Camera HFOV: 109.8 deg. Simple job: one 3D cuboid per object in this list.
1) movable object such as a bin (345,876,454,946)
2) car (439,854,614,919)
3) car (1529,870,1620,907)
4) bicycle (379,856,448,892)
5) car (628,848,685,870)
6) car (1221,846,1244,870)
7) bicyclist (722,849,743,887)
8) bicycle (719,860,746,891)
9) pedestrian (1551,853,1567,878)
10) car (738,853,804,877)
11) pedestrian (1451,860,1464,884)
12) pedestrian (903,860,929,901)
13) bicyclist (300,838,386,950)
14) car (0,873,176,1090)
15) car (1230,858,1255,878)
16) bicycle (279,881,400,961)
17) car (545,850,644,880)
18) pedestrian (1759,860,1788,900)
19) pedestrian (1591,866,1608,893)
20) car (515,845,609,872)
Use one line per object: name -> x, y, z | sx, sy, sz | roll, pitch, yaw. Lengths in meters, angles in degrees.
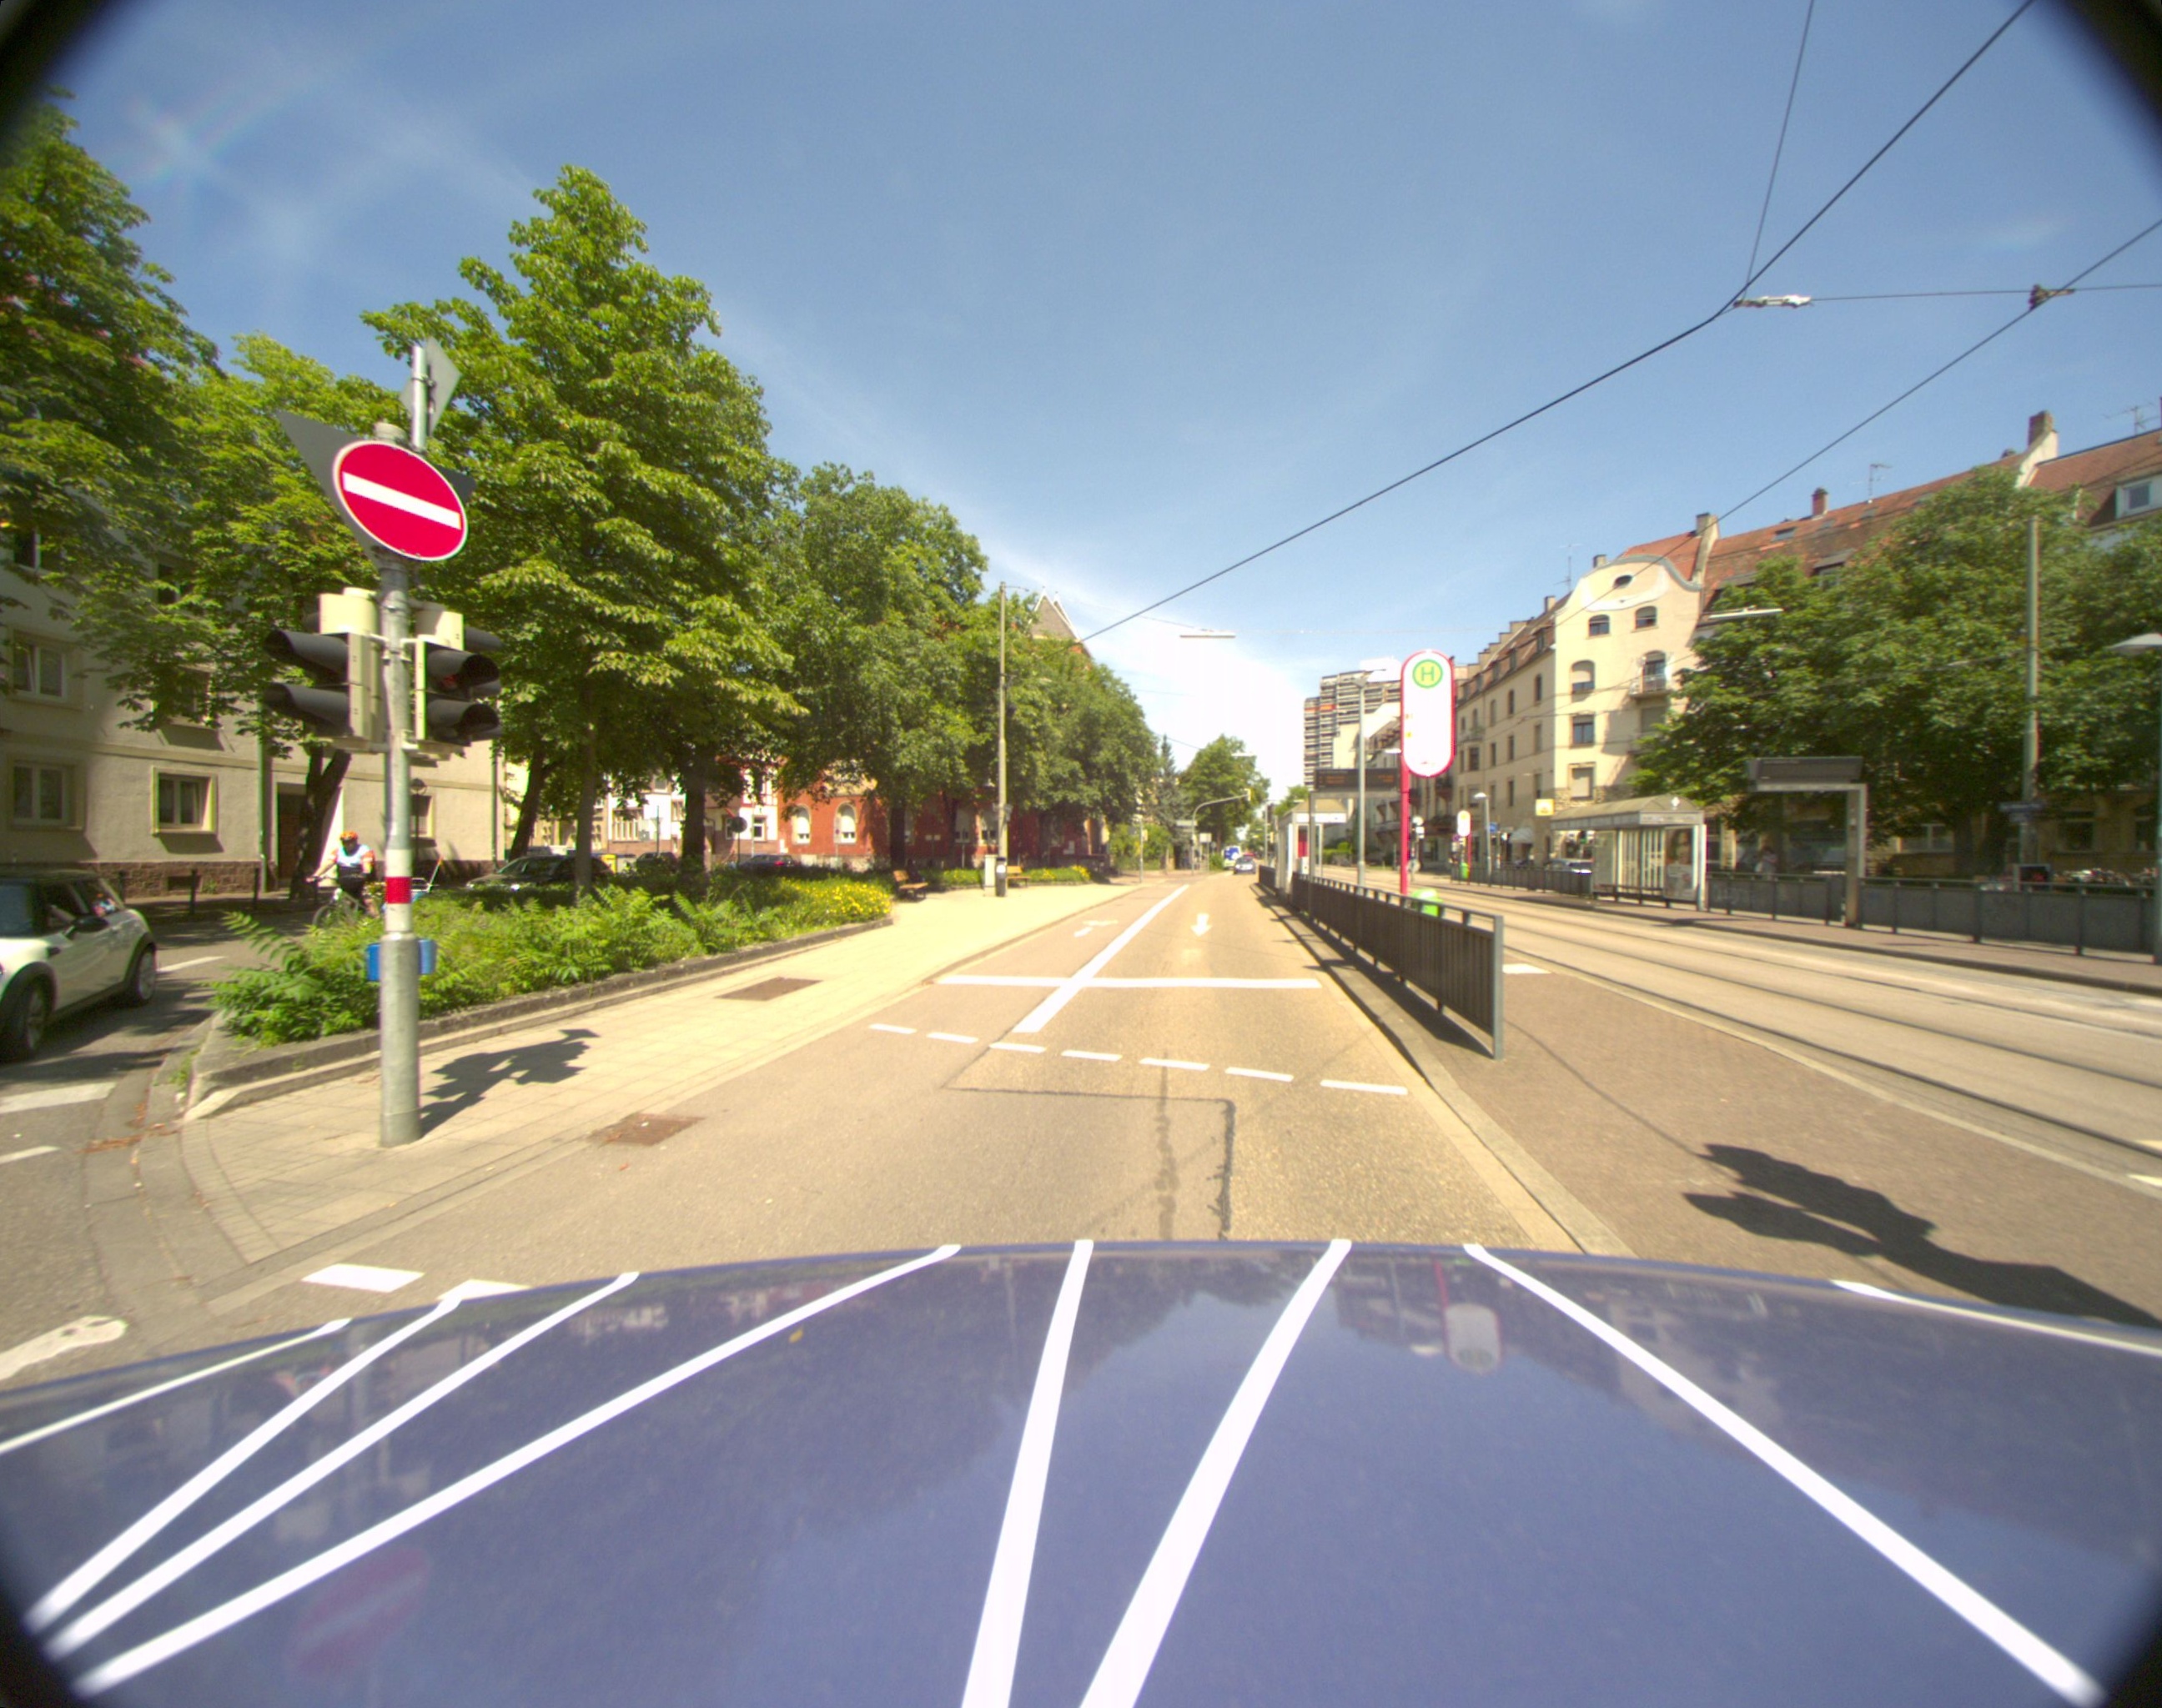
movable object such as a bin -> -12.590, 1.015, 14.115 | 0.869, 1.148, 1.761 | 0, 0, -18
car -> -14.747, 0.798, 20.517 | 1.612, 1.554, 4.067 | 1, 0, 3
car -> 19.621, 1.327, 30.394 | 1.695, 1.302, 3.851 | 1, 0, 10
bicycle -> -22.171, 0.651, 25.290 | 0.515, 1.148, 1.934 | 1, 0, 2
car -> -31.418, 0.331, 56.197 | 4.233, 1.554, 1.707 | 1, 0, 29
car -> 16.369, 0.396, 82.295 | 2.235, 2.478, 5.270 | 1, 1, 9
bicyclist -> -15.321, 0.605, 33.375 | 0.640, 1.614, 0.862 | 0, 1, -11
bicycle -> -15.315, 0.940, 33.396 | 0.640, 1.285, 1.929 | 0, 0, -11
pedestrian -> 27.586, 0.660, 43.857 | 0.536, 1.433, 0.521 | 1, 1, 2
car -> -20.035, 0.699, 49.070 | 4.307, 1.443, 1.648 | 1, 0, 29
pedestrian -> 26.969, 1.278, 54.453 | 0.807, 1.710, 0.764 | 1, 1, 26
pedestrian -> -4.669, 0.748, 21.561 | 0.652, 1.143, 0.643 | 0, 1, -5
bicyclist -> -12.064, 0.635, 12.448 | 0.699, 1.756, 0.863 | 0, 1, -18
car -> -9.326, 0.936, 6.203 | 1.699, 1.437, 3.616 | 0, 0, -37
car -> 13.218, 1.151, 62.231 | 1.736, 1.543, 4.427 | 1, 0, 9
bicycle -> -12.041, 1.044, 12.420 | 0.682, 1.148, 1.801 | 0, 0, -18
car -> -26.717, 0.561, 41.887 | 1.640, 1.554, 4.328 | 1, 0, 31
pedestrian -> 25.434, 0.945, 27.916 | 0.536, 1.433, 0.521 | 1, 1, 1
pedestrian -> 27.829, 1.364, 40.785 | 0.536, 1.433, 0.521 | 1, 1, 1
car -> -30.762, 0.258, 45.137 | 1.640, 1.554, 4.328 | 1, 0, 31
